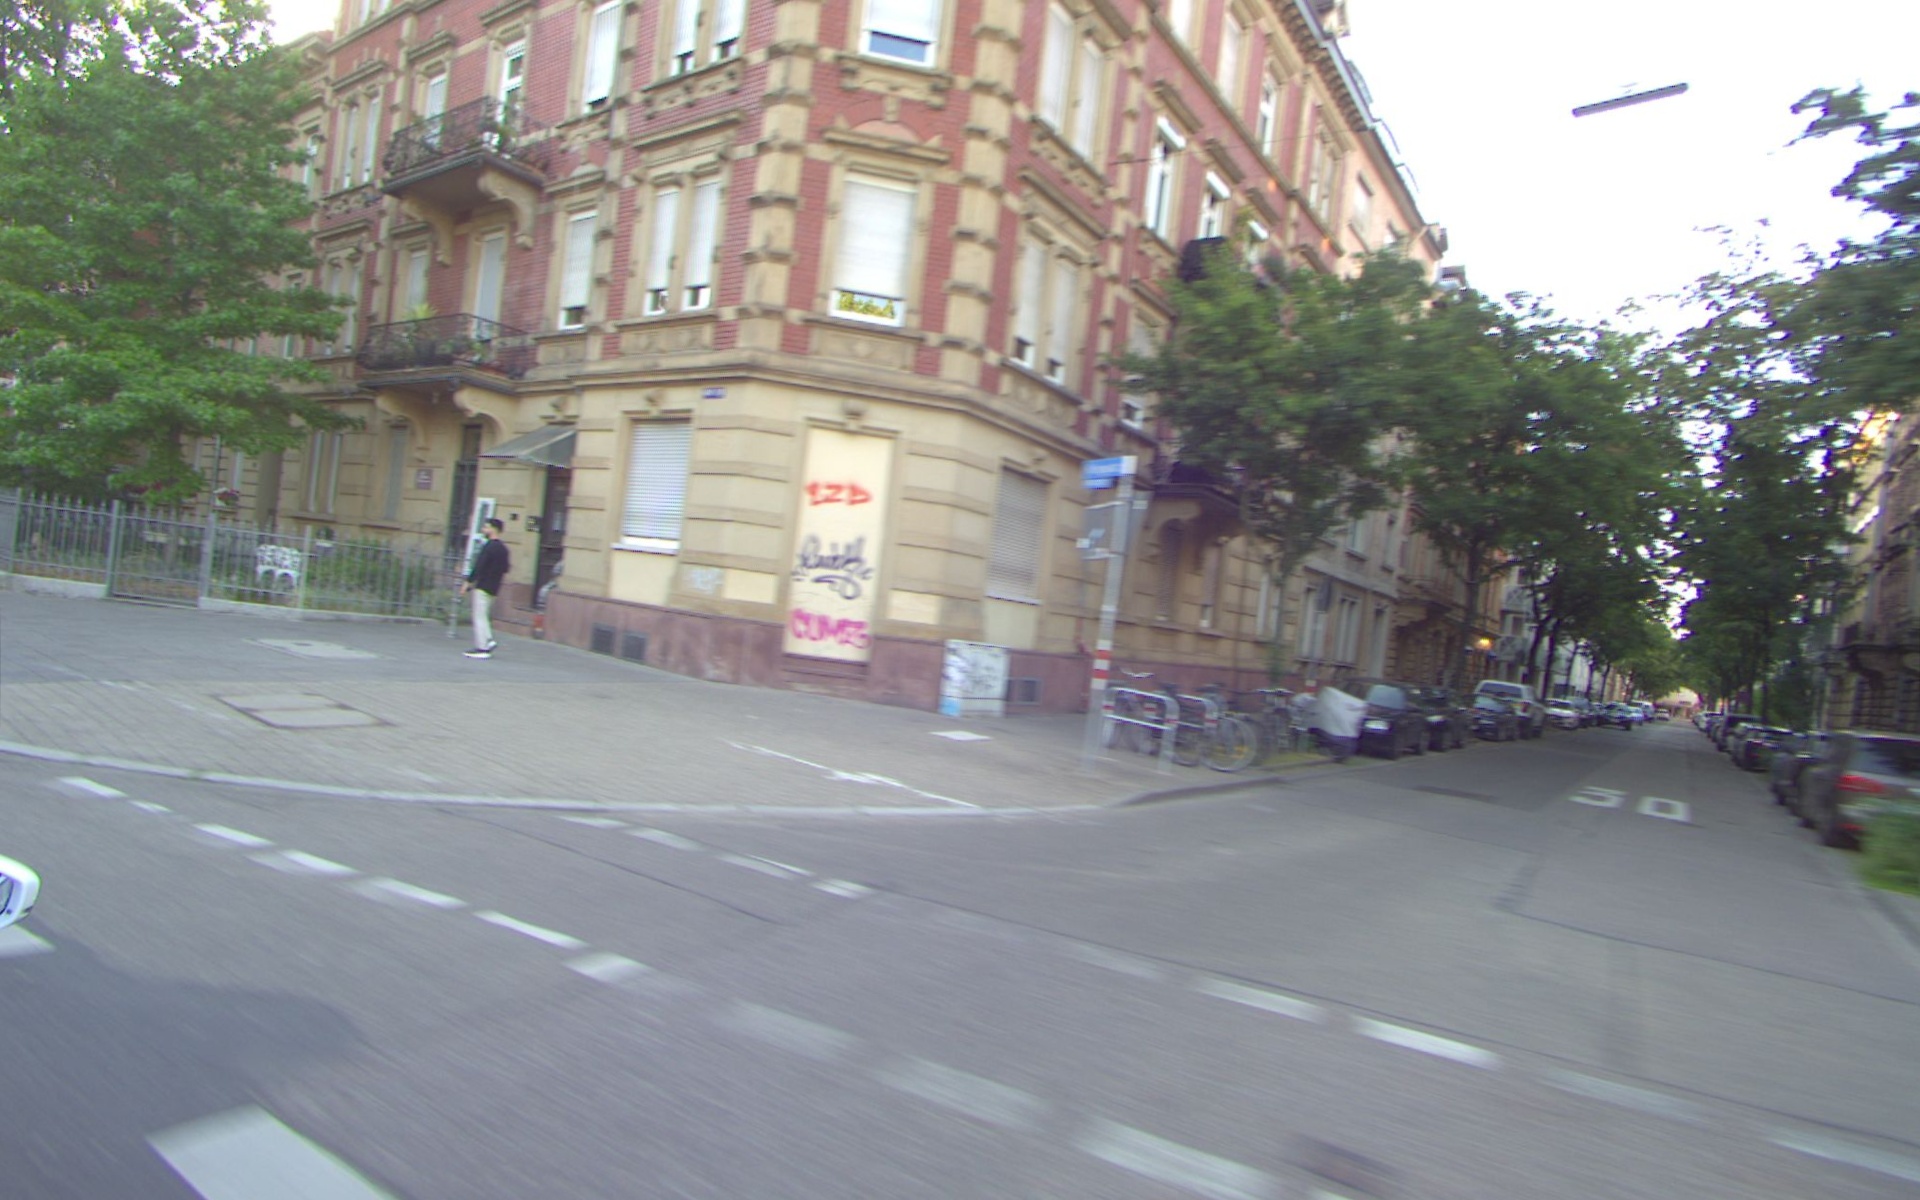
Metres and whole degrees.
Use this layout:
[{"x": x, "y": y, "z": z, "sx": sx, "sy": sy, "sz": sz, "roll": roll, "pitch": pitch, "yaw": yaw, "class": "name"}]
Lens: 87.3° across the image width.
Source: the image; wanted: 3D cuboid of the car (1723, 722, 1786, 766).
[{"x": 34.372, "y": 6.207, "z": 43.595, "sx": 1.820, "sy": 1.498, "sz": 3.988, "roll": 7, "pitch": -1, "yaw": 36, "class": "car"}]

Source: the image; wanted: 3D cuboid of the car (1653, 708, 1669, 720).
[{"x": 105.039, "y": 17.120, "z": 150.766, "sx": 1.820, "sy": 1.435, "sz": 3.988, "roll": 7, "pitch": -1, "yaw": 36, "class": "car"}]

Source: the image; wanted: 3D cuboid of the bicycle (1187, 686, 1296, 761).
[{"x": 4.311, "y": 1.887, "z": 15.442, "sx": 1.472, "sy": 0.826, "sz": 0.295, "roll": 11, "pitch": 1, "yaw": 33, "class": "bicycle"}]

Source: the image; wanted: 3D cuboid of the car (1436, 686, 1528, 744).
[{"x": 16.283, "y": 3.554, "z": 31.275, "sx": 1.884, "sy": 1.409, "sz": 3.989, "roll": 7, "pitch": -1, "yaw": 35, "class": "car"}]

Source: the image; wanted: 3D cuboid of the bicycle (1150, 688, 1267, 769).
[{"x": 3.508, "y": 1.808, "z": 14.262, "sx": 1.472, "sy": 0.826, "sz": 0.295, "roll": 11, "pitch": 1, "yaw": 33, "class": "bicycle"}]

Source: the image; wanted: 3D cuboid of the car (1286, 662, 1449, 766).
[{"x": 8.254, "y": 2.253, "z": 20.181, "sx": 1.968, "sy": 1.526, "sz": 3.989, "roll": 11, "pitch": 1, "yaw": 35, "class": "car"}]

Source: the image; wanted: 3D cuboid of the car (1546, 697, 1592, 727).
[{"x": 35.081, "y": 6.431, "z": 57.875, "sx": 1.820, "sy": 1.435, "sz": 3.988, "roll": 7, "pitch": -1, "yaw": 36, "class": "car"}]

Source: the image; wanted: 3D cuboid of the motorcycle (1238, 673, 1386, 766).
[{"x": 6.150, "y": 2.076, "z": 17.699, "sx": 0.880, "sy": 1.135, "sz": 2.183, "roll": 11, "pitch": 0, "yaw": -39, "class": "motorcycle"}]

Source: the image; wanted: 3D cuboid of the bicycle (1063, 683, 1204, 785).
[{"x": 1.961, "y": 1.513, "z": 11.479, "sx": 1.472, "sy": 0.826, "sz": 0.292, "roll": 11, "pitch": 1, "yaw": 33, "class": "bicycle"}]

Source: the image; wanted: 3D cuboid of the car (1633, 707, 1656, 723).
[{"x": 74.159, "y": 12.414, "z": 108.901, "sx": 1.820, "sy": 1.435, "sz": 3.988, "roll": 7, "pitch": -1, "yaw": 36, "class": "car"}]

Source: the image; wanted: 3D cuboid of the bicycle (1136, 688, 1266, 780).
[{"x": 3.035, "y": 1.682, "z": 12.750, "sx": 1.472, "sy": 0.826, "sz": 0.295, "roll": 11, "pitch": 1, "yaw": 33, "class": "bicycle"}]

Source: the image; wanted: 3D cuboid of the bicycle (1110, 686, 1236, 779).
[{"x": 2.616, "y": 1.623, "z": 12.473, "sx": 1.477, "sy": 0.826, "sz": 0.294, "roll": 11, "pitch": 0, "yaw": 44, "class": "bicycle"}]

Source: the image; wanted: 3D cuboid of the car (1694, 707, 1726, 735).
[{"x": 59.876, "y": 9.649, "z": 80.395, "sx": 1.820, "sy": 1.858, "sz": 3.988, "roll": 7, "pitch": -1, "yaw": 36, "class": "car"}]

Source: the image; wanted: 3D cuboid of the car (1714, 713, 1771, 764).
[{"x": 37.058, "y": 6.510, "z": 47.717, "sx": 1.820, "sy": 1.995, "sz": 3.988, "roll": 7, "pitch": -1, "yaw": 36, "class": "car"}]

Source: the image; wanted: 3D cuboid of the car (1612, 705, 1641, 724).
[{"x": 58.842, "y": 10.095, "z": 88.761, "sx": 1.820, "sy": 1.435, "sz": 3.988, "roll": 7, "pitch": -1, "yaw": 36, "class": "car"}]

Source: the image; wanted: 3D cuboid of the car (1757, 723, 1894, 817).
[{"x": 19.093, "y": 3.681, "z": 22.360, "sx": 1.820, "sy": 1.541, "sz": 3.988, "roll": 7, "pitch": -1, "yaw": 36, "class": "car"}]

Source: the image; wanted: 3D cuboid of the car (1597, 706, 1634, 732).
[{"x": 42.157, "y": 7.647, "z": 64.635, "sx": 1.676, "sy": 1.351, "sz": 3.988, "roll": 7, "pitch": -1, "yaw": 36, "class": "car"}]

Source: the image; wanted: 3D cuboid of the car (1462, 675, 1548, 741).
[{"x": 19.103, "y": 3.755, "z": 35.160, "sx": 1.951, "sy": 1.892, "sz": 3.988, "roll": 7, "pitch": -1, "yaw": 36, "class": "car"}]

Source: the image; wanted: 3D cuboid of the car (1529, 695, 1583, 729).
[{"x": 29.660, "y": 5.568, "z": 49.998, "sx": 1.820, "sy": 1.374, "sz": 3.988, "roll": 7, "pitch": -1, "yaw": 36, "class": "car"}]

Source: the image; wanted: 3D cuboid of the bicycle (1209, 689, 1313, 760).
[{"x": 4.857, "y": 2.006, "z": 16.274, "sx": 1.472, "sy": 0.826, "sz": 0.295, "roll": 11, "pitch": 1, "yaw": 33, "class": "bicycle"}]

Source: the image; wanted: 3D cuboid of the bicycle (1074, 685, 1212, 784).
[{"x": 2.131, "y": 1.557, "z": 11.800, "sx": 1.472, "sy": 0.826, "sz": 0.292, "roll": 11, "pitch": 1, "yaw": 33, "class": "bicycle"}]

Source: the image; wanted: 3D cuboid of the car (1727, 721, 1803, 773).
[{"x": 29.214, "y": 5.299, "z": 36.597, "sx": 1.820, "sy": 1.435, "sz": 3.988, "roll": 7, "pitch": -1, "yaw": 36, "class": "car"}]

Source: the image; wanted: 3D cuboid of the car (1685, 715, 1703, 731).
[{"x": 101.680, "y": 17.056, "z": 139.433, "sx": 1.820, "sy": 1.912, "sz": 3.988, "roll": 7, "pitch": -1, "yaw": 36, "class": "car"}]

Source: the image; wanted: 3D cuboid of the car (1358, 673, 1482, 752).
[{"x": 11.126, "y": 2.681, "z": 24.196, "sx": 1.884, "sy": 1.474, "sz": 3.989, "roll": 7, "pitch": -1, "yaw": 35, "class": "car"}]

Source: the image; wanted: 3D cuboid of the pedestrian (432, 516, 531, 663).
[{"x": -6.256, "y": -0.140, "z": 13.158, "sx": 0.818, "sy": 1.803, "sz": 0.745, "roll": 7, "pitch": 4, "yaw": 32, "class": "pedestrian"}]

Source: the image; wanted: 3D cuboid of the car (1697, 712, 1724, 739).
[{"x": 72.043, "y": 12.034, "z": 96.621, "sx": 1.820, "sy": 2.260, "sz": 3.988, "roll": 7, "pitch": -1, "yaw": 36, "class": "car"}]

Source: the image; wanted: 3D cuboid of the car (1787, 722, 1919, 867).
[{"x": 13.202, "y": 2.707, "z": 14.296, "sx": 1.820, "sy": 1.626, "sz": 3.988, "roll": 7, "pitch": -1, "yaw": 36, "class": "car"}]

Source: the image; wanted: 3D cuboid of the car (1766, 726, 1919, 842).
[{"x": 16.010, "y": 3.222, "z": 18.238, "sx": 1.820, "sy": 1.541, "sz": 3.988, "roll": 7, "pitch": -1, "yaw": 36, "class": "car"}]

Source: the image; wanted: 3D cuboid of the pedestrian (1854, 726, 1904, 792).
[{"x": 25.362, "y": 4.374, "z": 27.769, "sx": 0.785, "sy": 1.690, "sz": 0.587, "roll": 7, "pitch": 0, "yaw": 35, "class": "pedestrian"}]

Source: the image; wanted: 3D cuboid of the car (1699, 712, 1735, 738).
[{"x": 54.703, "y": 9.010, "z": 72.744, "sx": 1.820, "sy": 1.498, "sz": 3.988, "roll": 7, "pitch": -1, "yaw": 36, "class": "car"}]

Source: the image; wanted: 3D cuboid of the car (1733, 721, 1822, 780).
[{"x": 25.949, "y": 4.734, "z": 32.043, "sx": 1.820, "sy": 1.435, "sz": 3.988, "roll": 7, "pitch": -1, "yaw": 36, "class": "car"}]
